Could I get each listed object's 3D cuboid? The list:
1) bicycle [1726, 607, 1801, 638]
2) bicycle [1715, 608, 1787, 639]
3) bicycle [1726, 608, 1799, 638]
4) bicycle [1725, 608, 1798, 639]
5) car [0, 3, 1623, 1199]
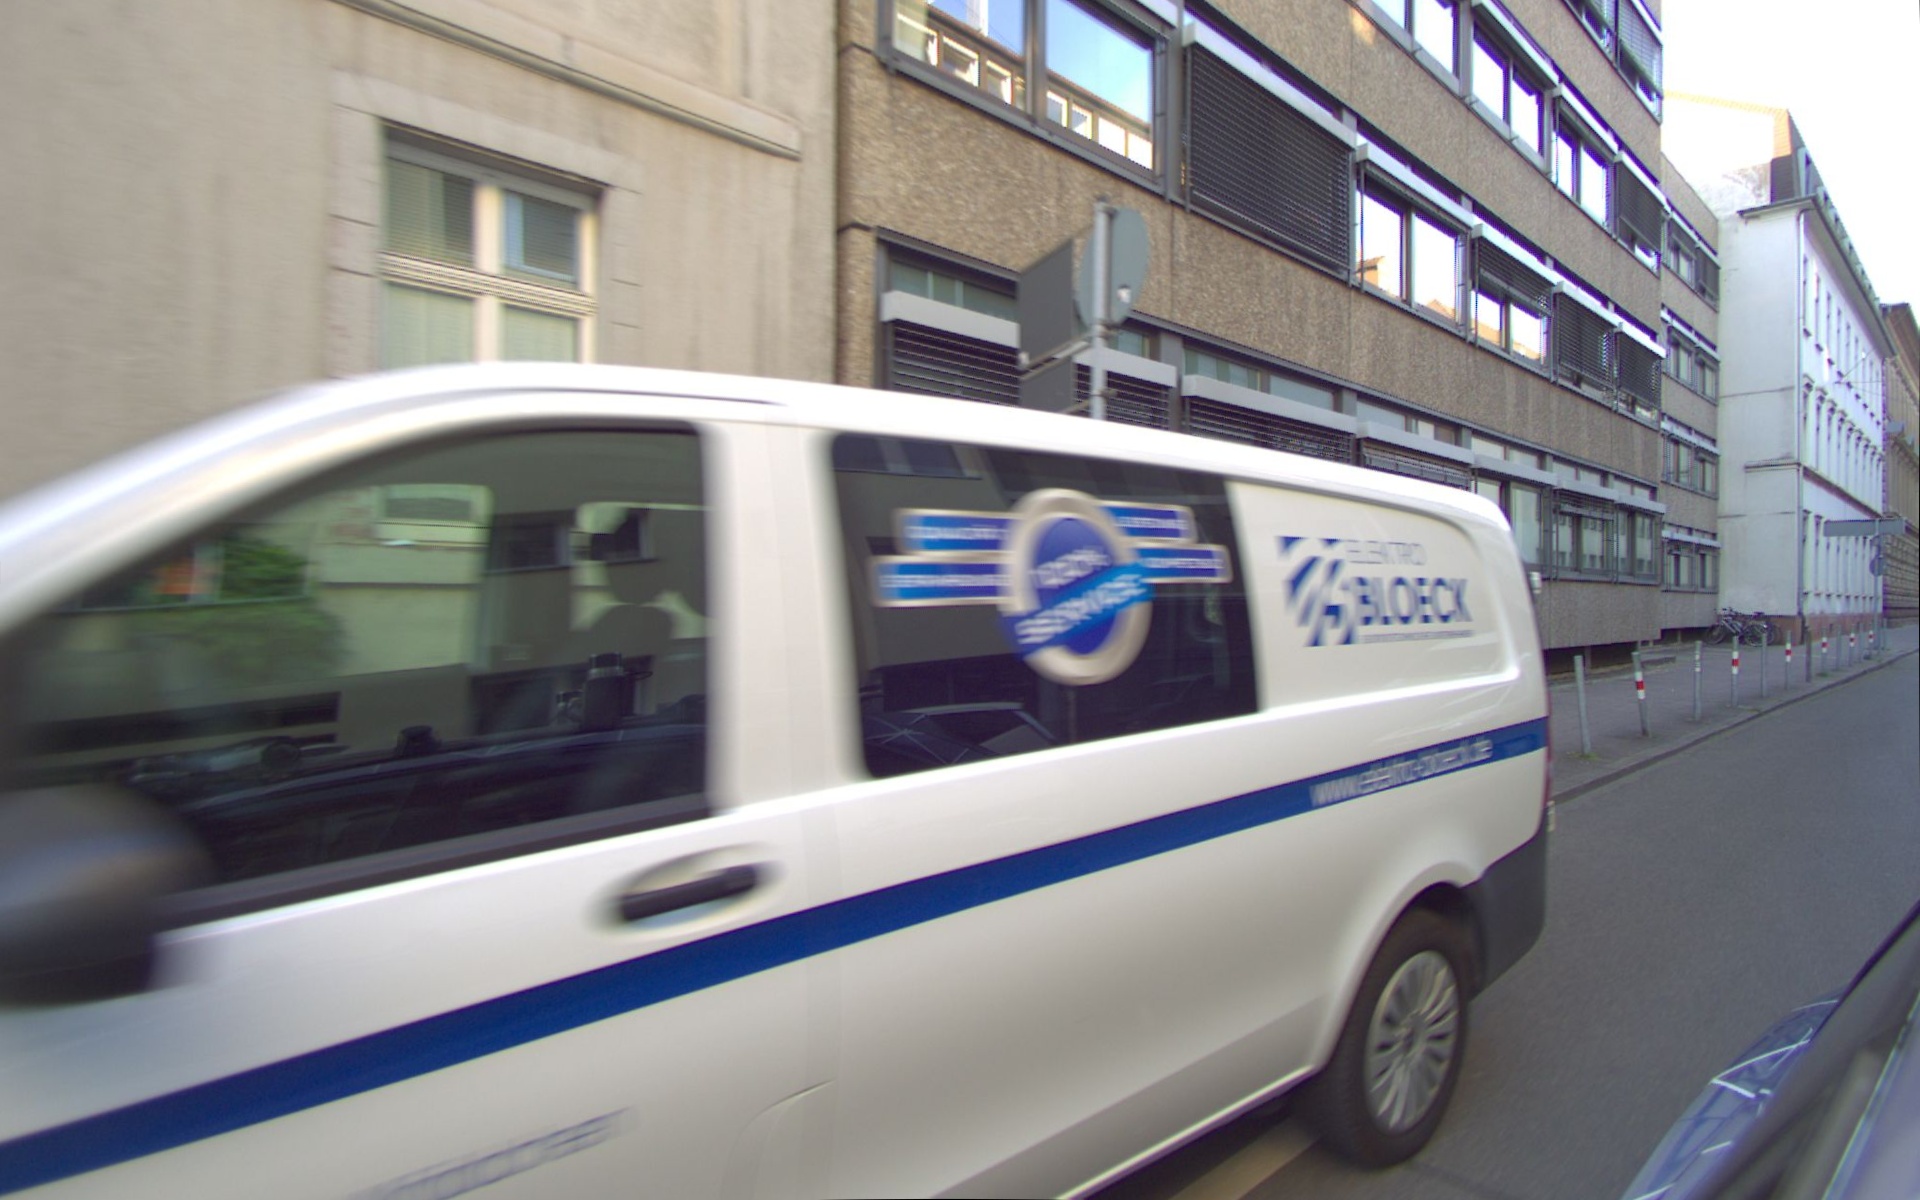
[{"bbox_3d":[25.053,0.696,31.574,1.793,0.934,0.530,-1,0,40],"label":"bicycle"},{"bbox_3d":[24.346,0.702,31.163,1.737,0.934,0.530,-1,0,41],"label":"bicycle"},{"bbox_3d":[25.858,0.737,32.629,1.795,0.934,0.390,-1,0,44],"label":"bicycle"},{"bbox_3d":[25.487,0.741,32.204,1.793,0.934,0.509,-1,0,40],"label":"bicycle"},{"bbox_3d":[-0.452,0.419,2.457,5.181,1.922,1.941,0,0,-39],"label":"car"}]
